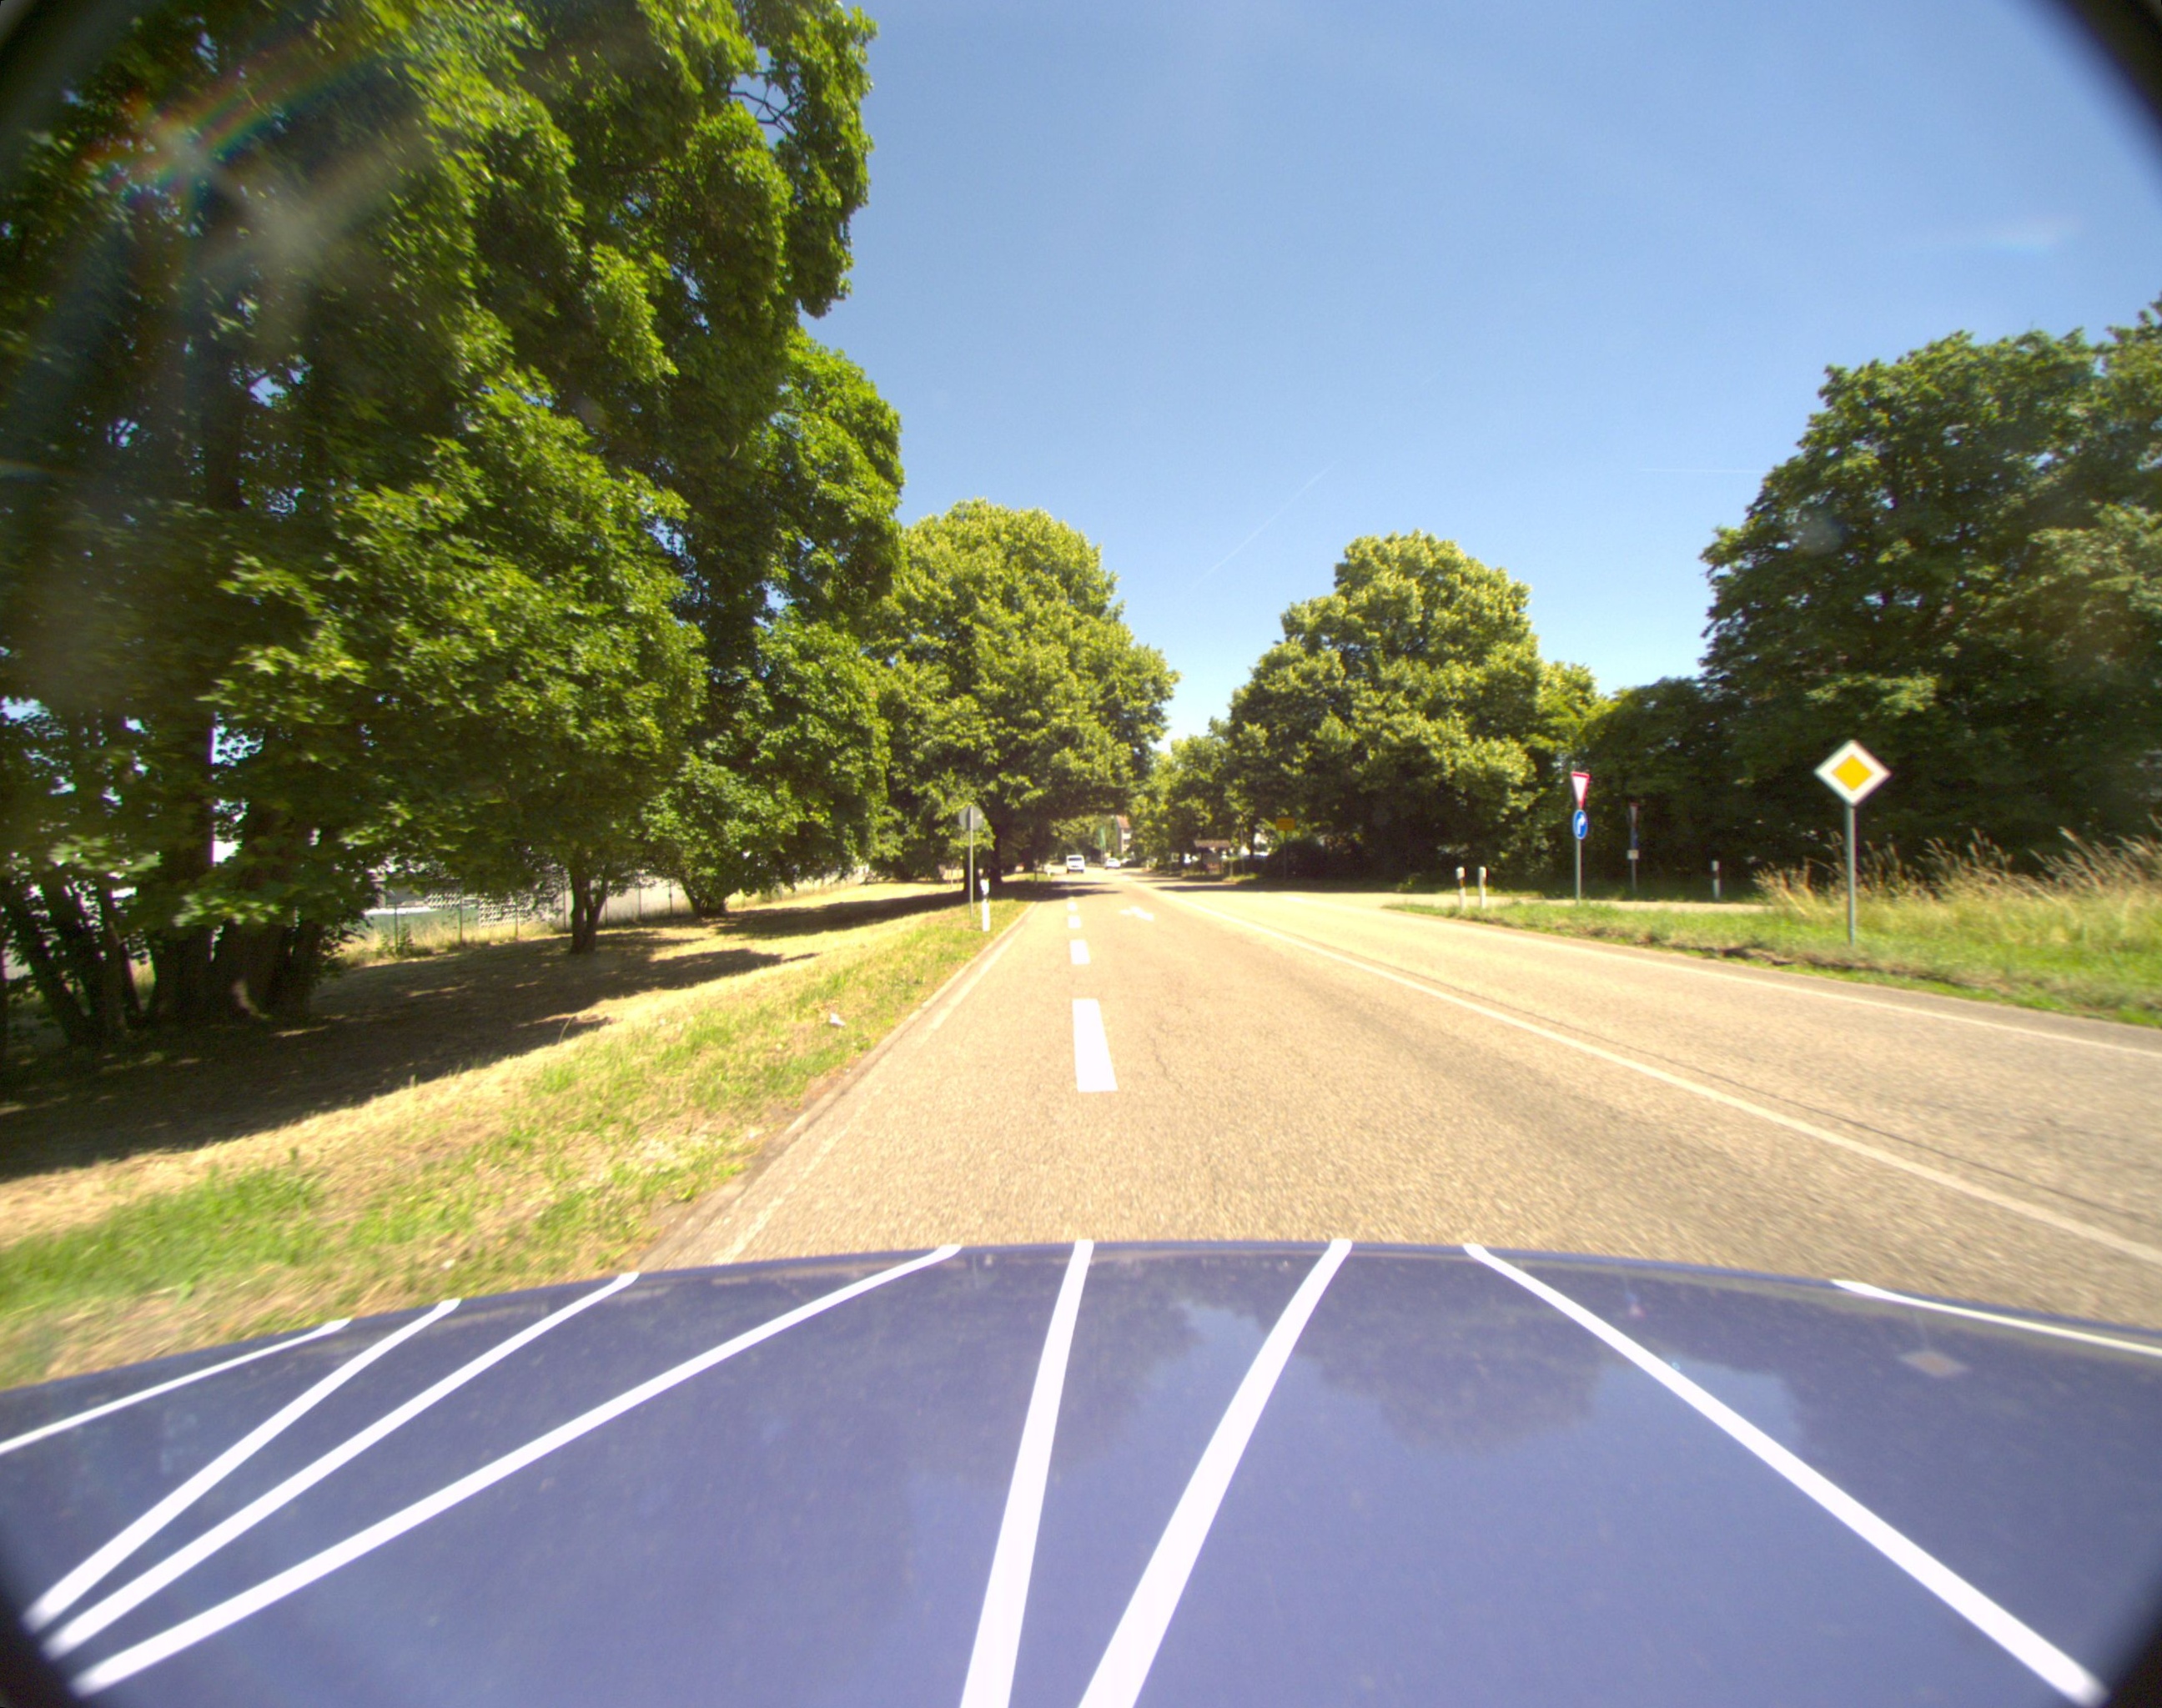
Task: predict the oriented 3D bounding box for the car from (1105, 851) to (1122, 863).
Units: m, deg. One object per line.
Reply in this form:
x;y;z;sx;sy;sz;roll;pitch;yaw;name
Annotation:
4.646;0.365;110.194;2.100;1.579;4.474;-3;0;-1;car

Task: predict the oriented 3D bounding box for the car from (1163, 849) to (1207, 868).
11.440;0.489;83.713;4.369;1.969;1.904;-2;1;-5;car

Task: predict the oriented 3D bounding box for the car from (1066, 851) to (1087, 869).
-0.560;0.640;84.646;1.797;1.904;3.637;-1;0;-9;car
